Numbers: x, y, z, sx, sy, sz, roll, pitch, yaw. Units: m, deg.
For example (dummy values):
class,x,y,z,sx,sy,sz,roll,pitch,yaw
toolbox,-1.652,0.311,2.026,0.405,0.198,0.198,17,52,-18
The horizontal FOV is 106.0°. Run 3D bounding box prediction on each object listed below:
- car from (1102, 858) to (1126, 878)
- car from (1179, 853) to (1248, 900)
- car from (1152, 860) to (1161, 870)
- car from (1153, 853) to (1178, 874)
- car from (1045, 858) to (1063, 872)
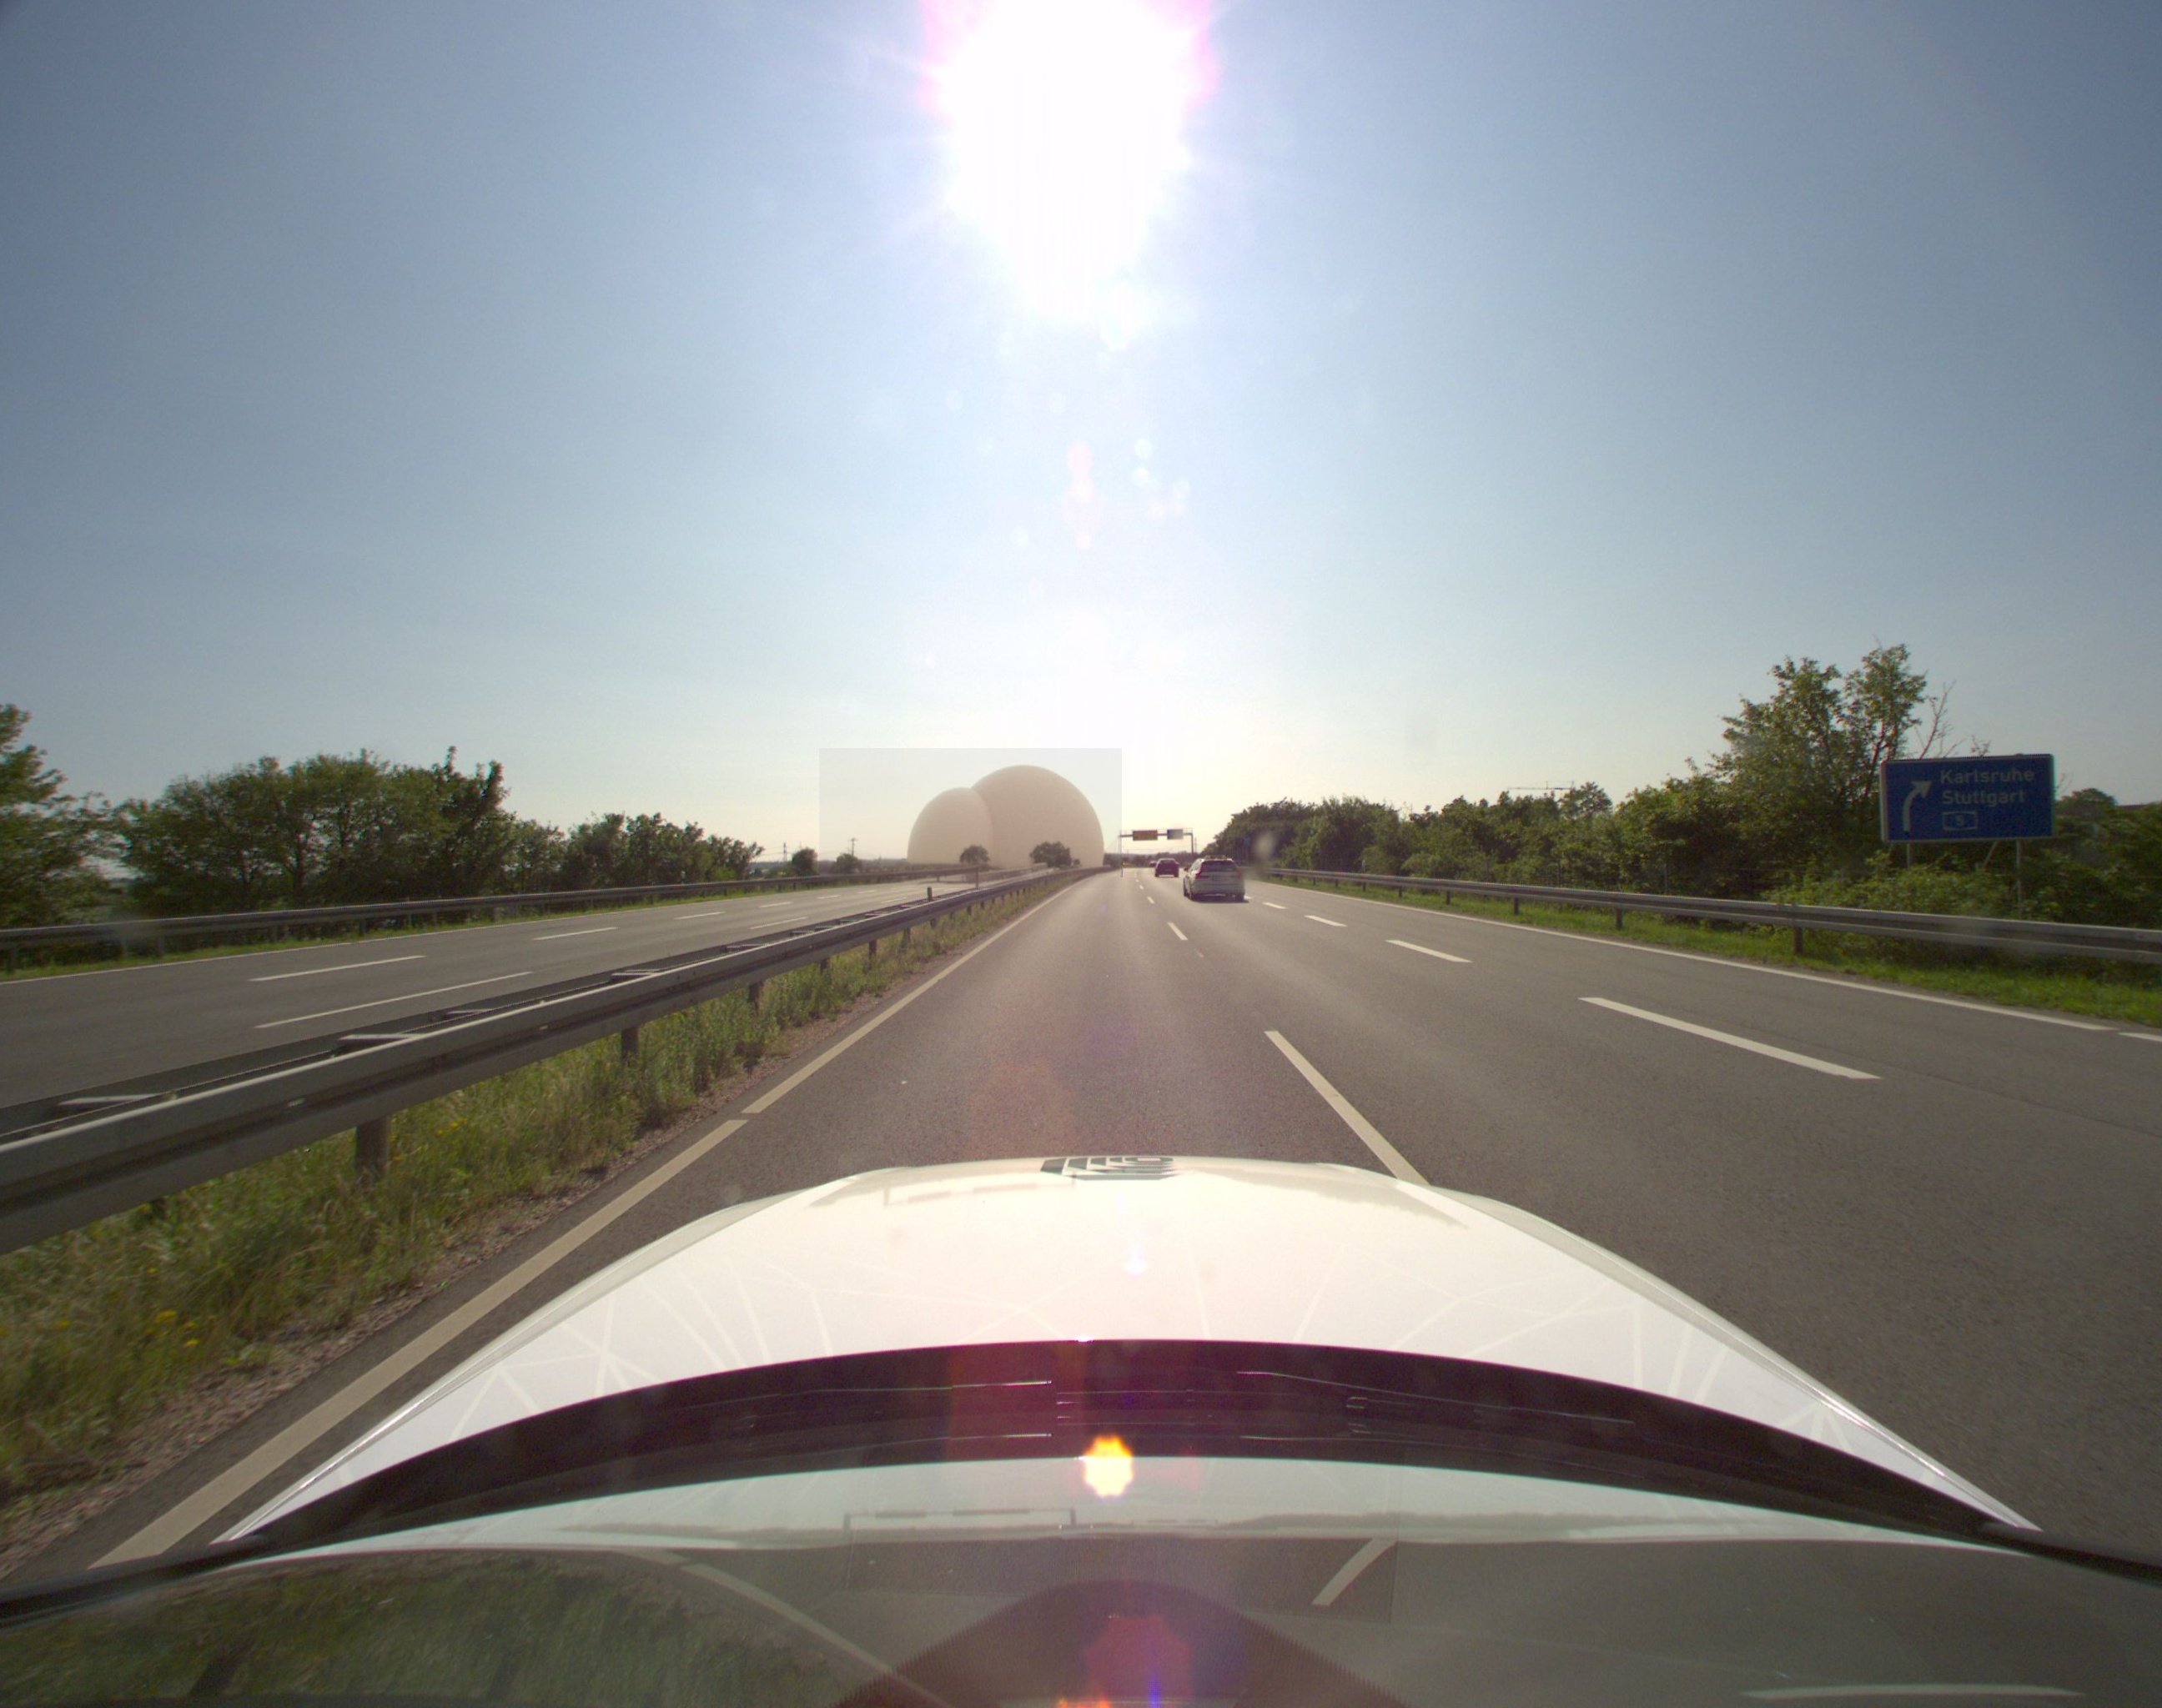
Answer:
class,x,y,z,sx,sy,sz,roll,pitch,yaw
car,2.701,1.103,65.789,1.785,1.503,4.048,-2,-1,4
car,4.703,0.763,29.476,1.951,1.601,4.108,0,0,1
car,16.456,2.403,178.088,1.985,2.014,4.004,0,0,4
car,6.507,0.732,62.979,1.785,1.543,3.674,0,-1,3
car,-3.062,1.248,91.492,1.703,1.486,4.268,0,0,2
